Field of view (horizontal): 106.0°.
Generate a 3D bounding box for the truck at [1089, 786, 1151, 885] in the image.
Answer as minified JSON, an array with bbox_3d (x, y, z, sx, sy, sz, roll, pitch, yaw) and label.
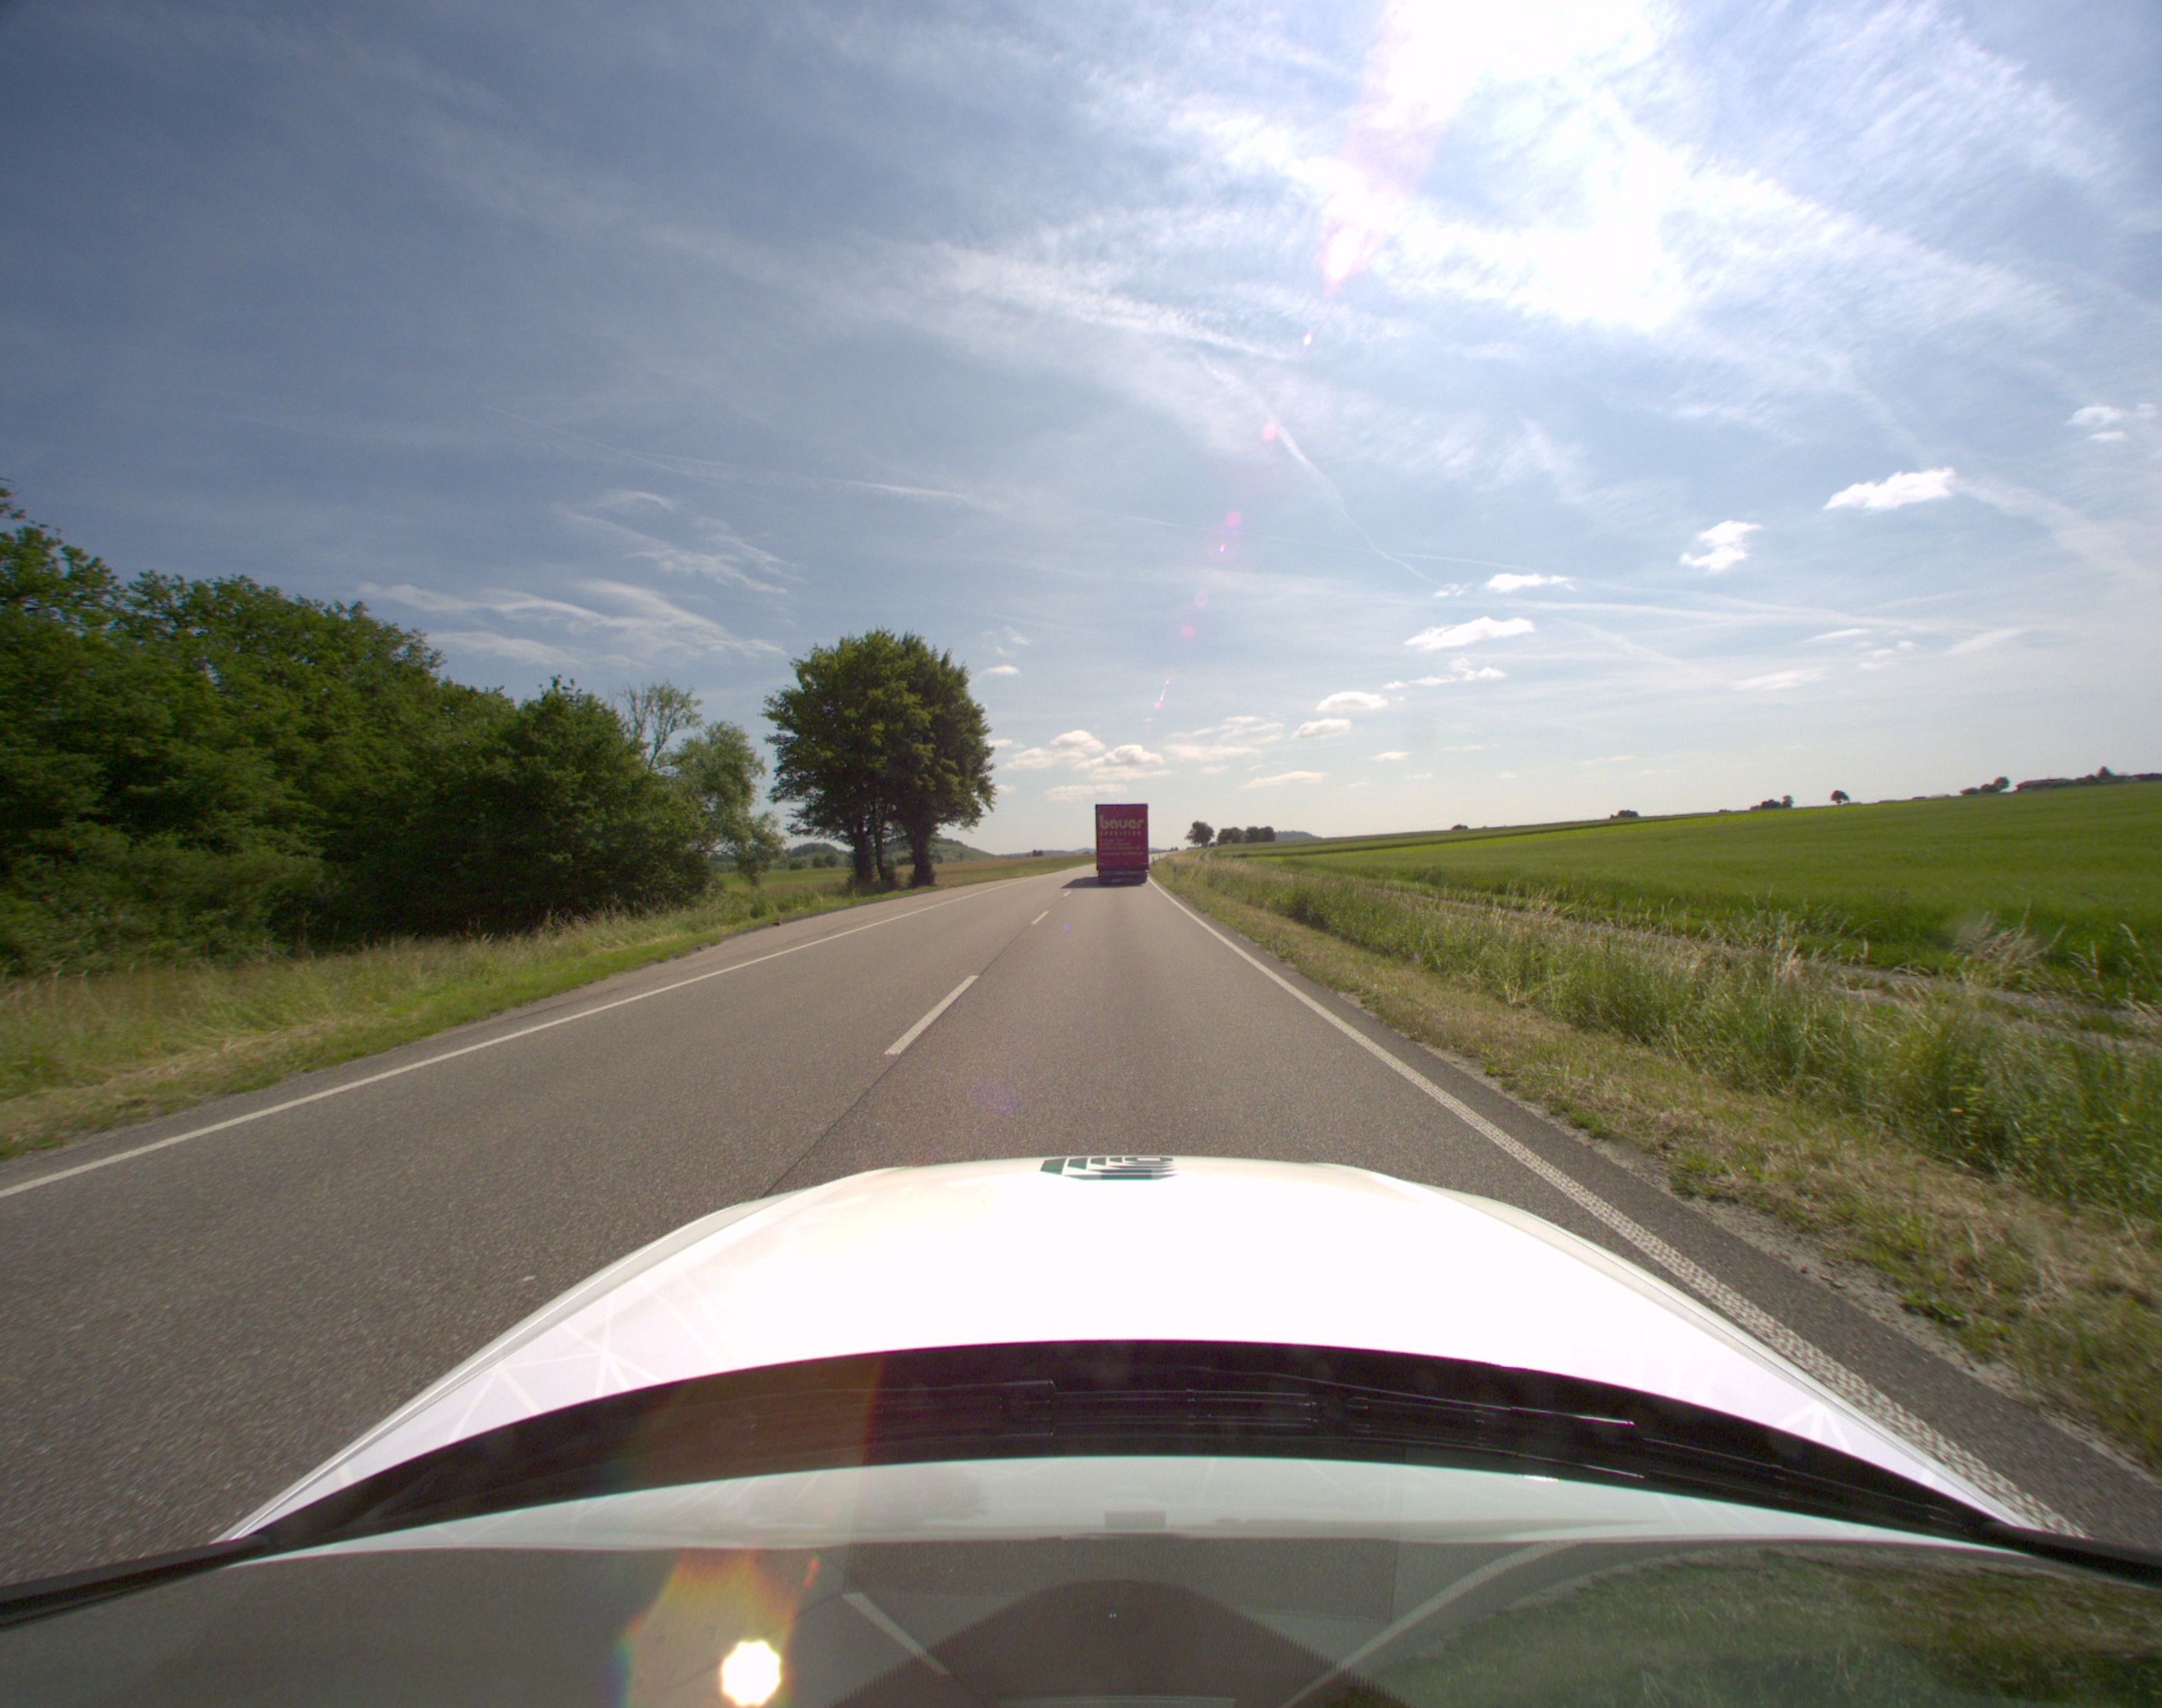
[{"bbox_3d":[1.948,-0.839,43.535,2.965,4.713,9.367,0,0,1],"label":"truck"}]
